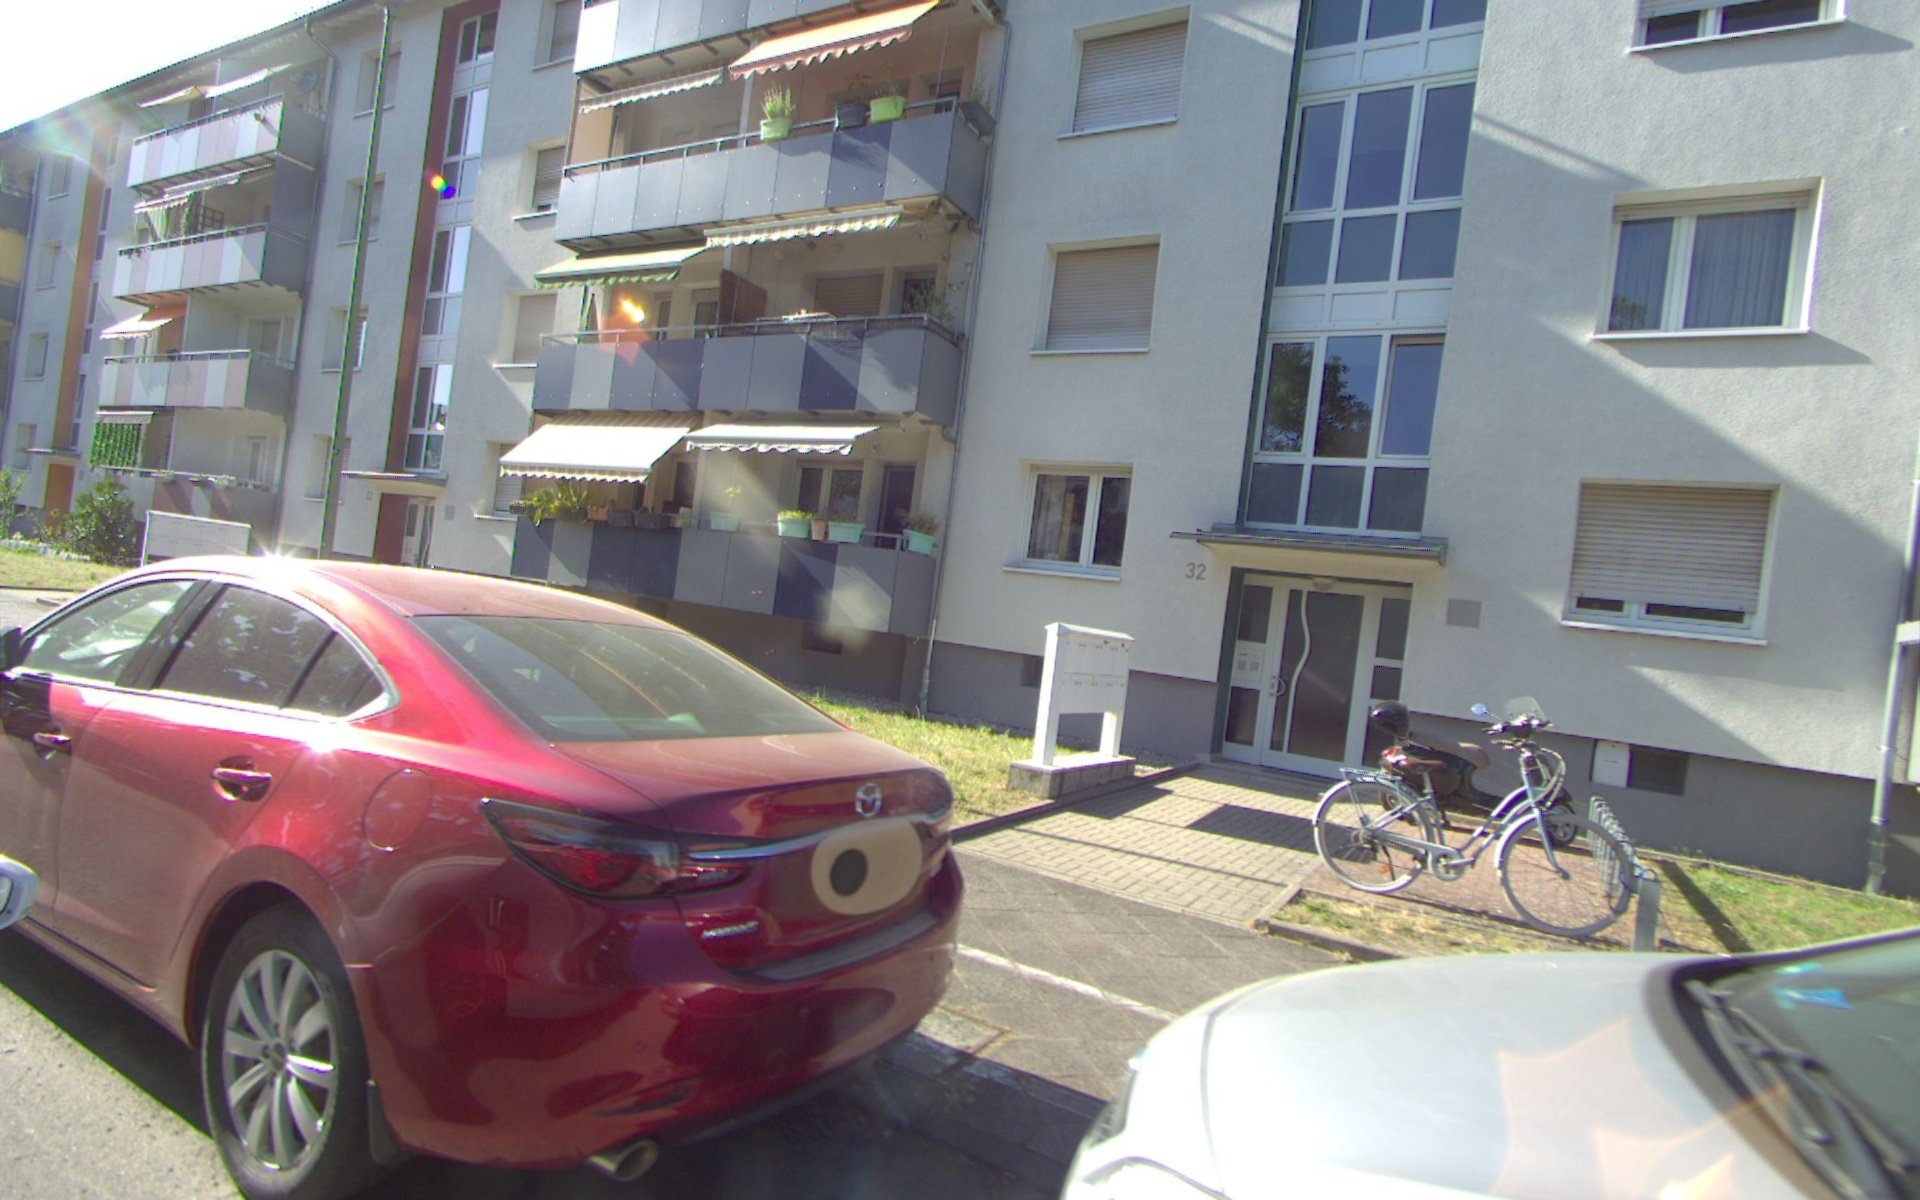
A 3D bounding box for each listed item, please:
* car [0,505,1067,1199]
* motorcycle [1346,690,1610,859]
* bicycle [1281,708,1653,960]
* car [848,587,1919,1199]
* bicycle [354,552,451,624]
[{"bbox_3d":[-2.326,0.571,3.744,4.979,1.490,1.847,7,-1,30],"label":"car"},{"bbox_3d":[4.683,1.556,9.261,2.000,1.165,0.584,7,0,22],"label":"motorcycle"},{"bbox_3d":[3.096,1.357,6.262,1.865,1.090,0.721,7,-1,32],"label":"bicycle"},{"bbox_3d":[2.222,1.063,1.074,4.414,1.552,1.878,7,-1,27],"label":"car"},{"bbox_3d":[-10.114,-0.224,18.225,1.975,1.085,0.524,7,2,30],"label":"bicycle"}]
